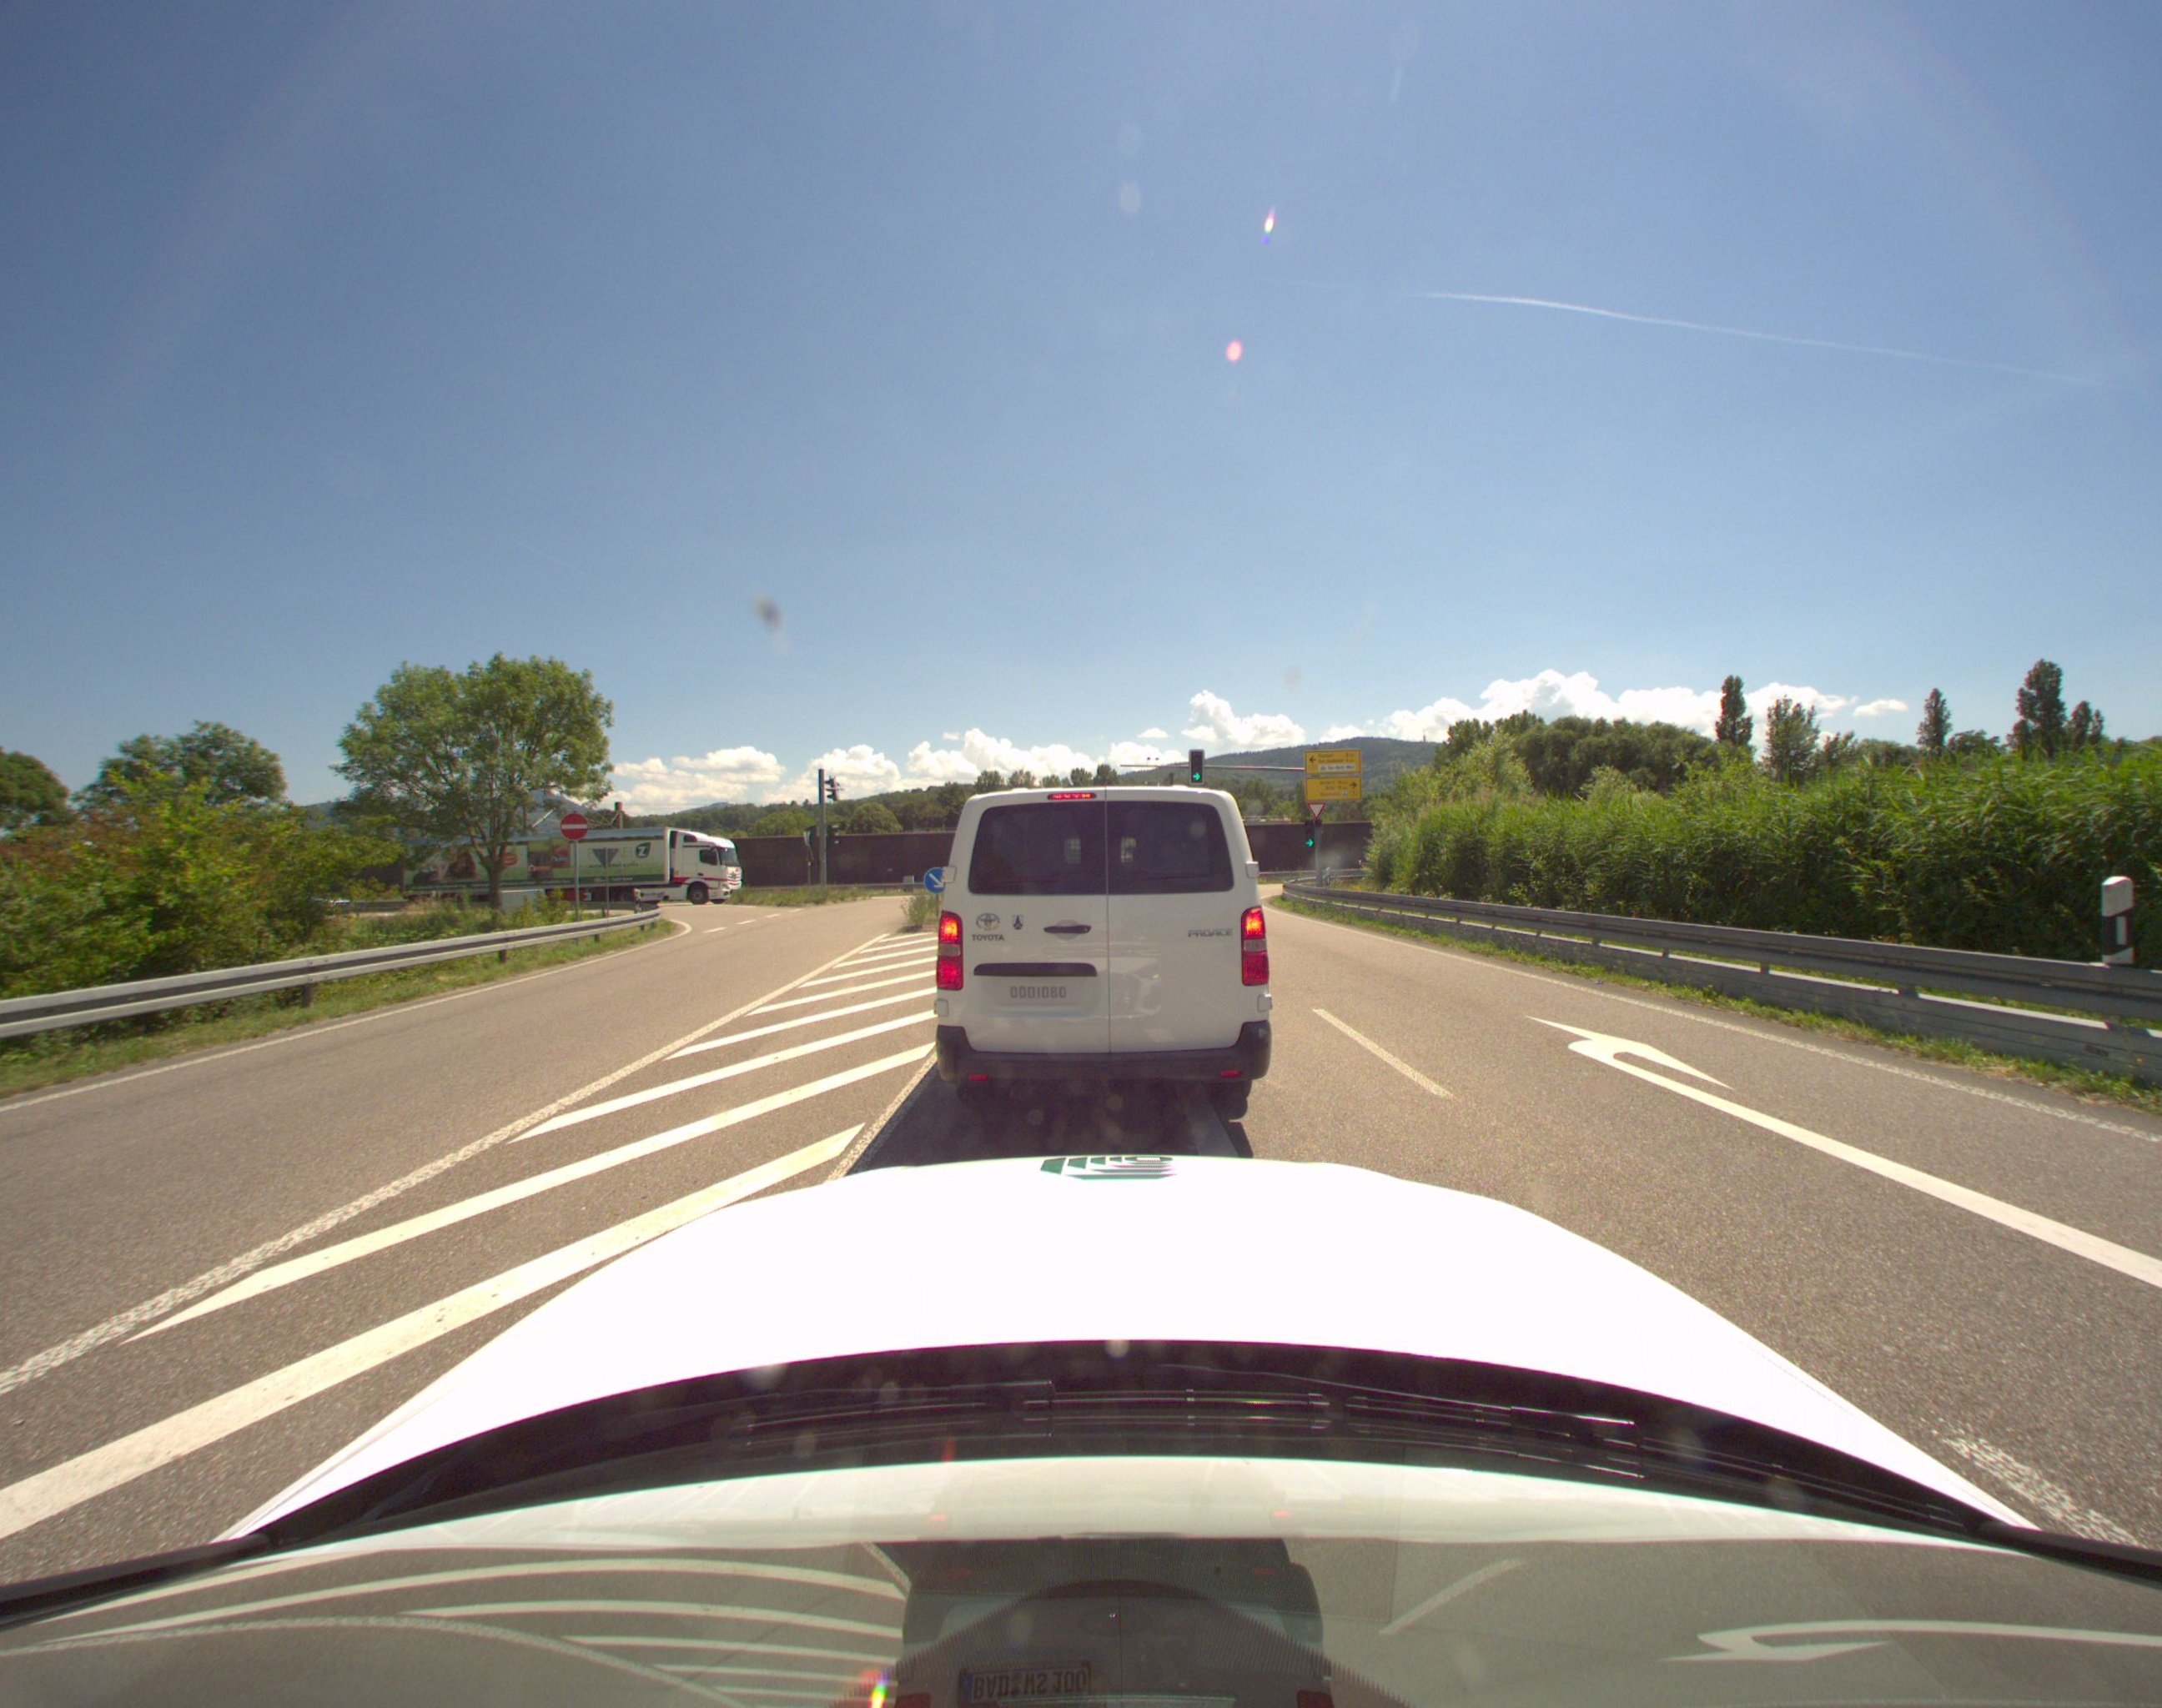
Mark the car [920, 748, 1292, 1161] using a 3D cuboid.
[{"bbox_3d":[0.179,0.516,6.041,1.808,2.018,4.001,-1,-1,2],"label":"car"}]

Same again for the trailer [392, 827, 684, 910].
[{"bbox_3d":[-28.214,0.737,42.724,13.098,3.954,3.061,-1,-1,0],"label":"trailer"}]

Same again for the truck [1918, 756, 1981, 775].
[{"bbox_3d":[132.168,-13.455,124.097,2.335,2.014,6.923,-1,-1,2],"label":"truck"}]

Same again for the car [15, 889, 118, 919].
[{"bbox_3d":[-53.895,2.642,43.299,3.462,1.464,1.554,-1,-1,0],"label":"car"}]

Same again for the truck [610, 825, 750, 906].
[{"bbox_3d":[-20.956,0.599,42.780,5.746,3.954,3.062,-1,-1,0],"label":"truck"}]
